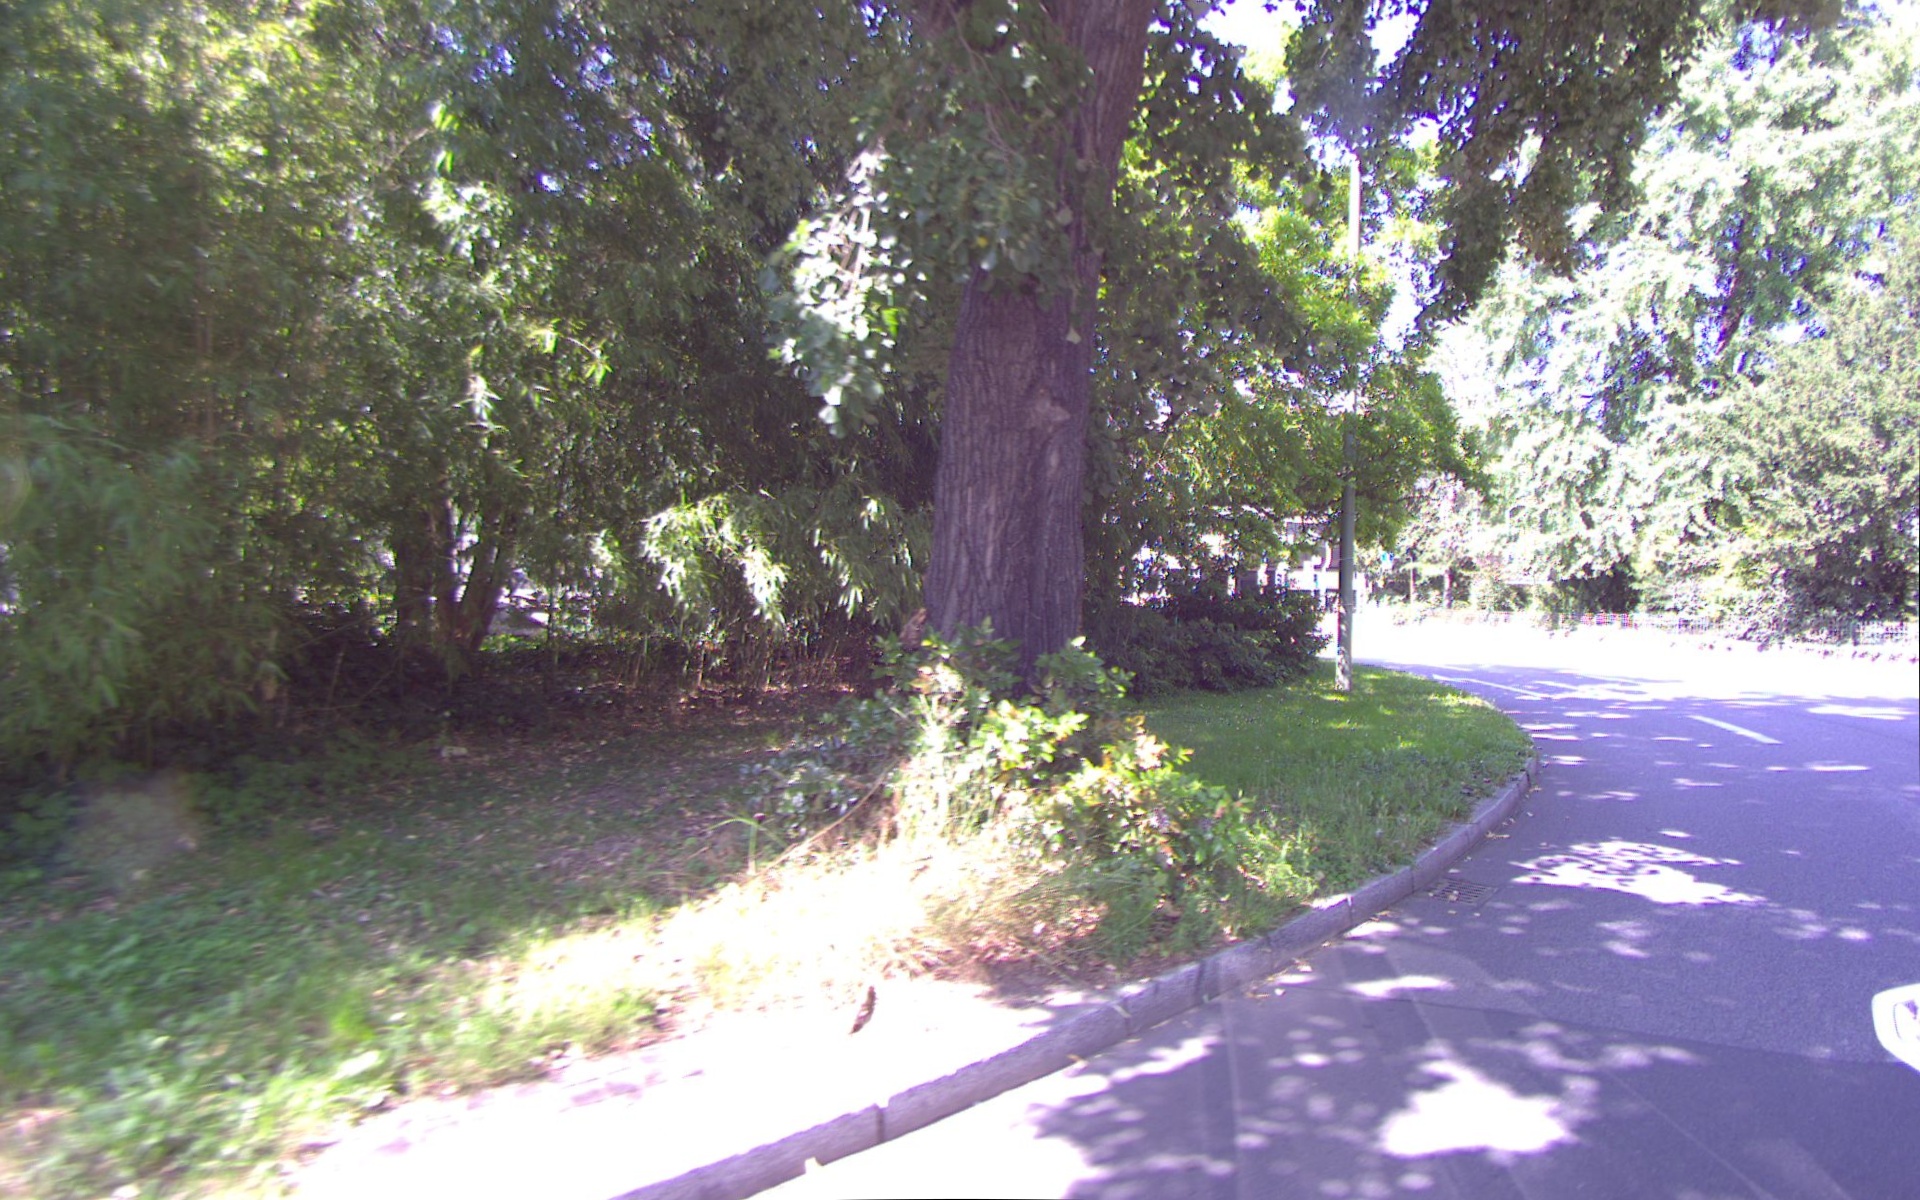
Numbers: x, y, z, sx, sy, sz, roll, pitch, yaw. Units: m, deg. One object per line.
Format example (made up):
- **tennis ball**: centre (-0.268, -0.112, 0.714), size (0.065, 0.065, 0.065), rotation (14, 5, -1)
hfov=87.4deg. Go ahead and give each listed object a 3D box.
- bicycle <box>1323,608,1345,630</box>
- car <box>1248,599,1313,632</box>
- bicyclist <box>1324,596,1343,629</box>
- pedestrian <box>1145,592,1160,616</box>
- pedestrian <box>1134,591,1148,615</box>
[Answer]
- **bicycle**: centre (21.157, 1.062, 56.887), size (0.839, 1.176, 2.084), rotation (1, 1, 12)
- **car**: centre (16.024, 0.757, 50.454), size (1.915, 1.558, 4.081), rotation (0, 0, -1)
- **bicyclist**: centre (21.164, 0.712, 56.914), size (0.844, 1.820, 1.130), rotation (1, 1, 12)
- **pedestrian**: centre (14.474, 0.304, 75.566), size (0.760, 1.837, 0.827), rotation (0, 1, -15)
- **pedestrian**: centre (13.926, 0.224, 77.466), size (0.760, 1.837, 0.827), rotation (0, 1, -15)
